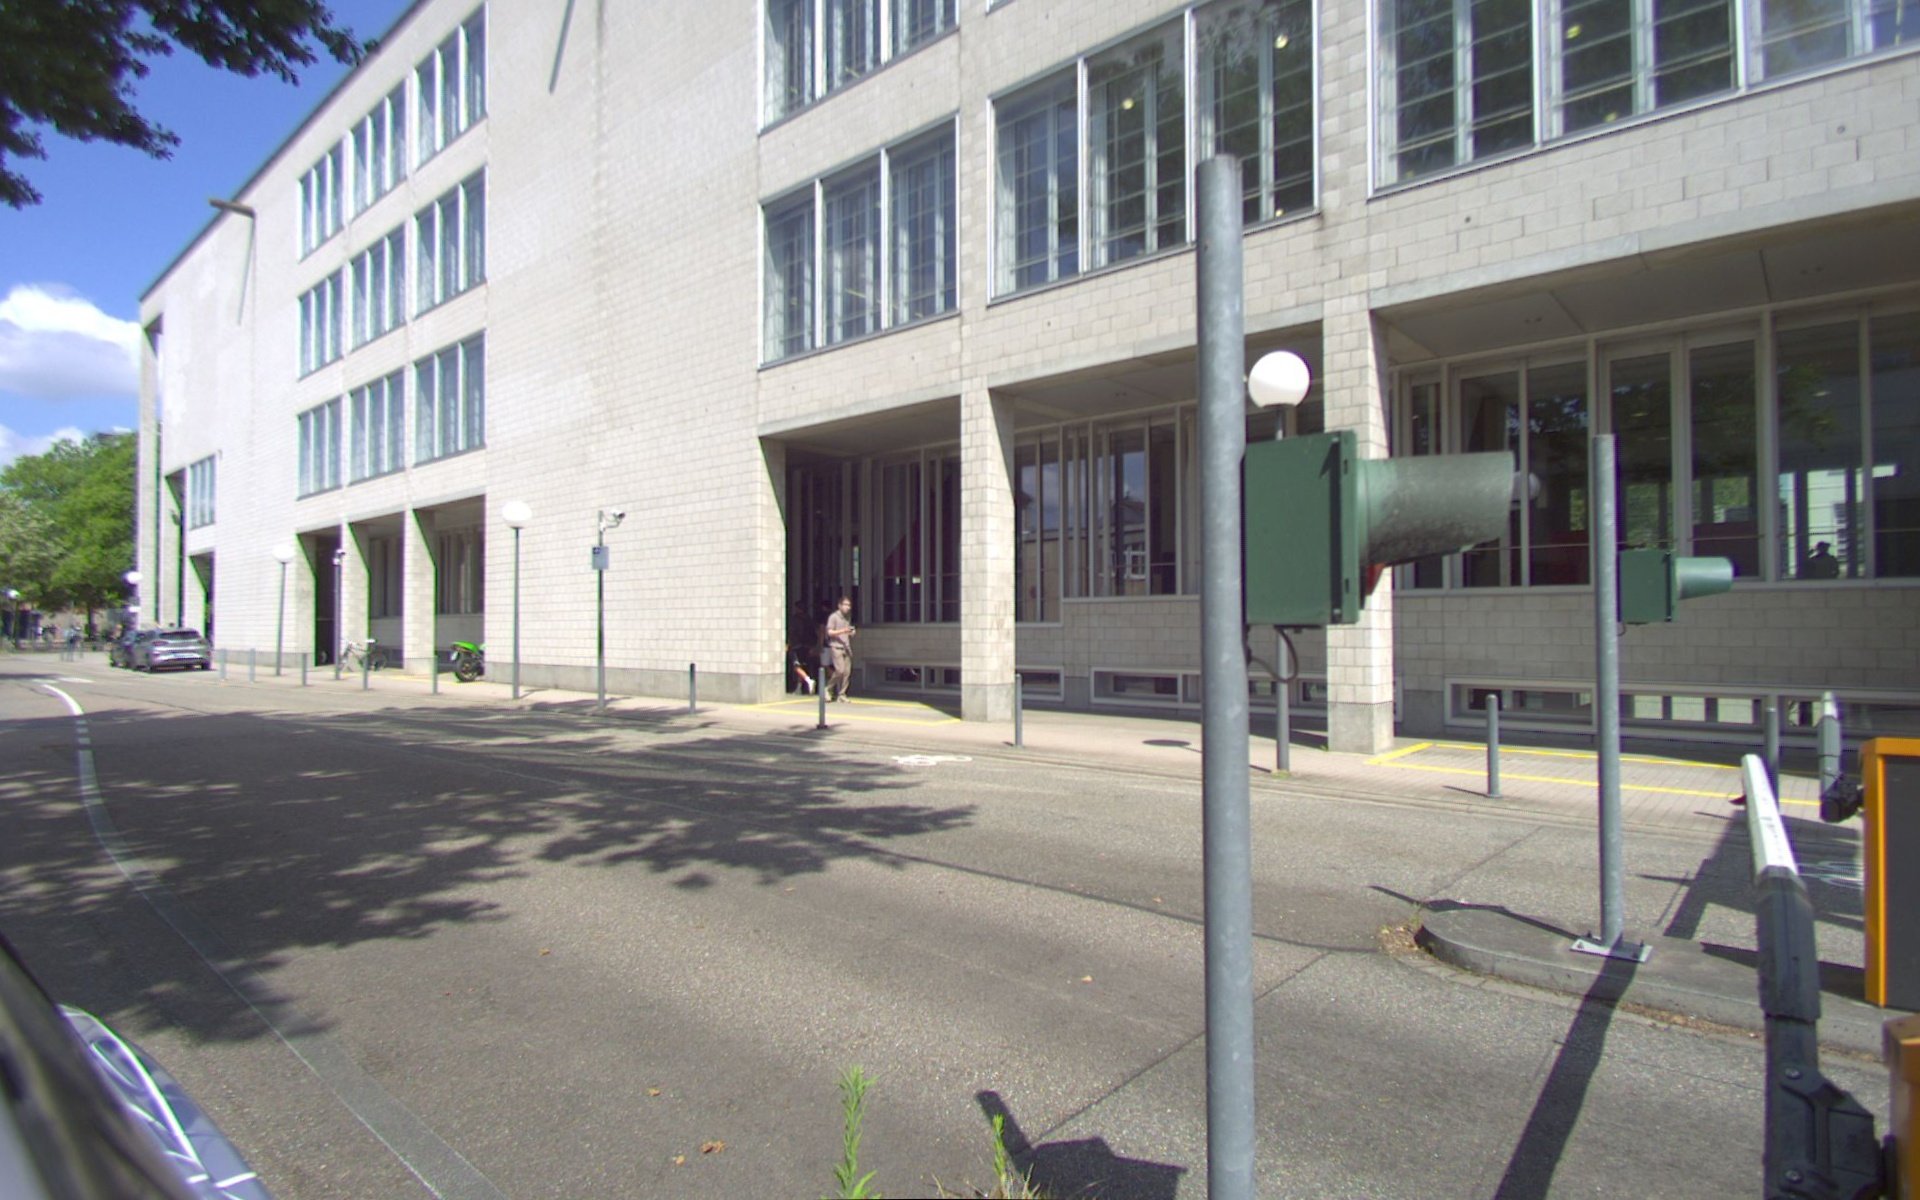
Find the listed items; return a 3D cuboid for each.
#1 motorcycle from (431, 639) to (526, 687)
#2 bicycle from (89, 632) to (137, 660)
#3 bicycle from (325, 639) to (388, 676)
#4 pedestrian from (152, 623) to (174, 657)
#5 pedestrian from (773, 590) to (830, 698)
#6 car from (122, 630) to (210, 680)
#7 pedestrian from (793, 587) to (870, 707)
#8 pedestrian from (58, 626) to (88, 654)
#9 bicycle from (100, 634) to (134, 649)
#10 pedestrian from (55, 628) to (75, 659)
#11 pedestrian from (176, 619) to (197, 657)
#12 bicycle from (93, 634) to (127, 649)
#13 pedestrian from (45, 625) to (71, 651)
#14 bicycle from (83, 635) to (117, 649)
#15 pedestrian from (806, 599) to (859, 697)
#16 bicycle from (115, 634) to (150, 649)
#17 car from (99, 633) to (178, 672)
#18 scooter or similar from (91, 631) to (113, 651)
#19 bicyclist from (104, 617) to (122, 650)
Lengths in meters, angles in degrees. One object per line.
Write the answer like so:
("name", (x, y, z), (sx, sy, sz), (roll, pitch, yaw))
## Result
("motorcycle", (-12.336, 1.593, 25.989), (0.772, 1.146, 2.149), (-1, -2, 31))
("bicycle", (-47.823, 2.595, 57.139), (2.031, 1.505, 0.799), (0, -1, -43))
("bicycle", (-19.151, 1.799, 32.135), (0.607, 1.095, 1.624), (-1, -1, 36))
("pedestrian", (-43.184, 2.163, 54.825), (1.080, 1.794, 0.745), (-2, -1, 41))
("pedestrian", (-3.050, 0.835, 19.504), (0.829, 2.029, 0.691), (-2, -1, 42))
("car", (-28.142, 1.884, 35.825), (4.404, 1.546, 1.708), (-1, 1, 42))
("pedestrian", (-2.267, 0.817, 17.868), (1.065, 2.029, 0.839), (-1, -2, 39))
("pedestrian", (-61.000, 2.744, 69.587), (1.369, 1.838, 1.382), (-2, -1, 41))
("bicycle", (-65.821, 3.223, 79.059), (0.676, 1.066, 2.116), (-1, -1, 12))
("pedestrian", (-52.226, 2.533, 59.067), (0.749, 1.738, 1.237), (-3, 1, -38))
("pedestrian", (-42.459, 2.066, 55.554), (1.080, 2.029, 0.745), (-2, -1, 41))
("bicycle", (-66.500, 3.241, 79.174), (0.616, 1.066, 2.116), (-1, -1, 11))
("pedestrian", (-72.287, 3.072, 81.090), (1.369, 2.029, 1.382), (-2, -1, 41))
("bicycle", (-67.769, 3.291, 79.784), (0.616, 1.066, 2.116), (-1, -1, 11))
("pedestrian", (-2.527, 0.929, 20.002), (0.719, 1.895, 0.723), (-2, -1, 42))
("bicycle", (-64.298, 3.214, 78.647), (0.676, 1.066, 2.116), (-1, -1, 12))
("car", (-32.200, 2.016, 39.638), (4.663, 1.434, 1.708), (-2, -1, 42))
("scooter or similar", (-54.334, 2.614, 64.129), (0.702, 1.200, 1.620), (0, 0, -27))
("bicyclist", (-47.833, 1.881, 57.152), (0.722, 1.790, 0.763), (0, -1, -42))
